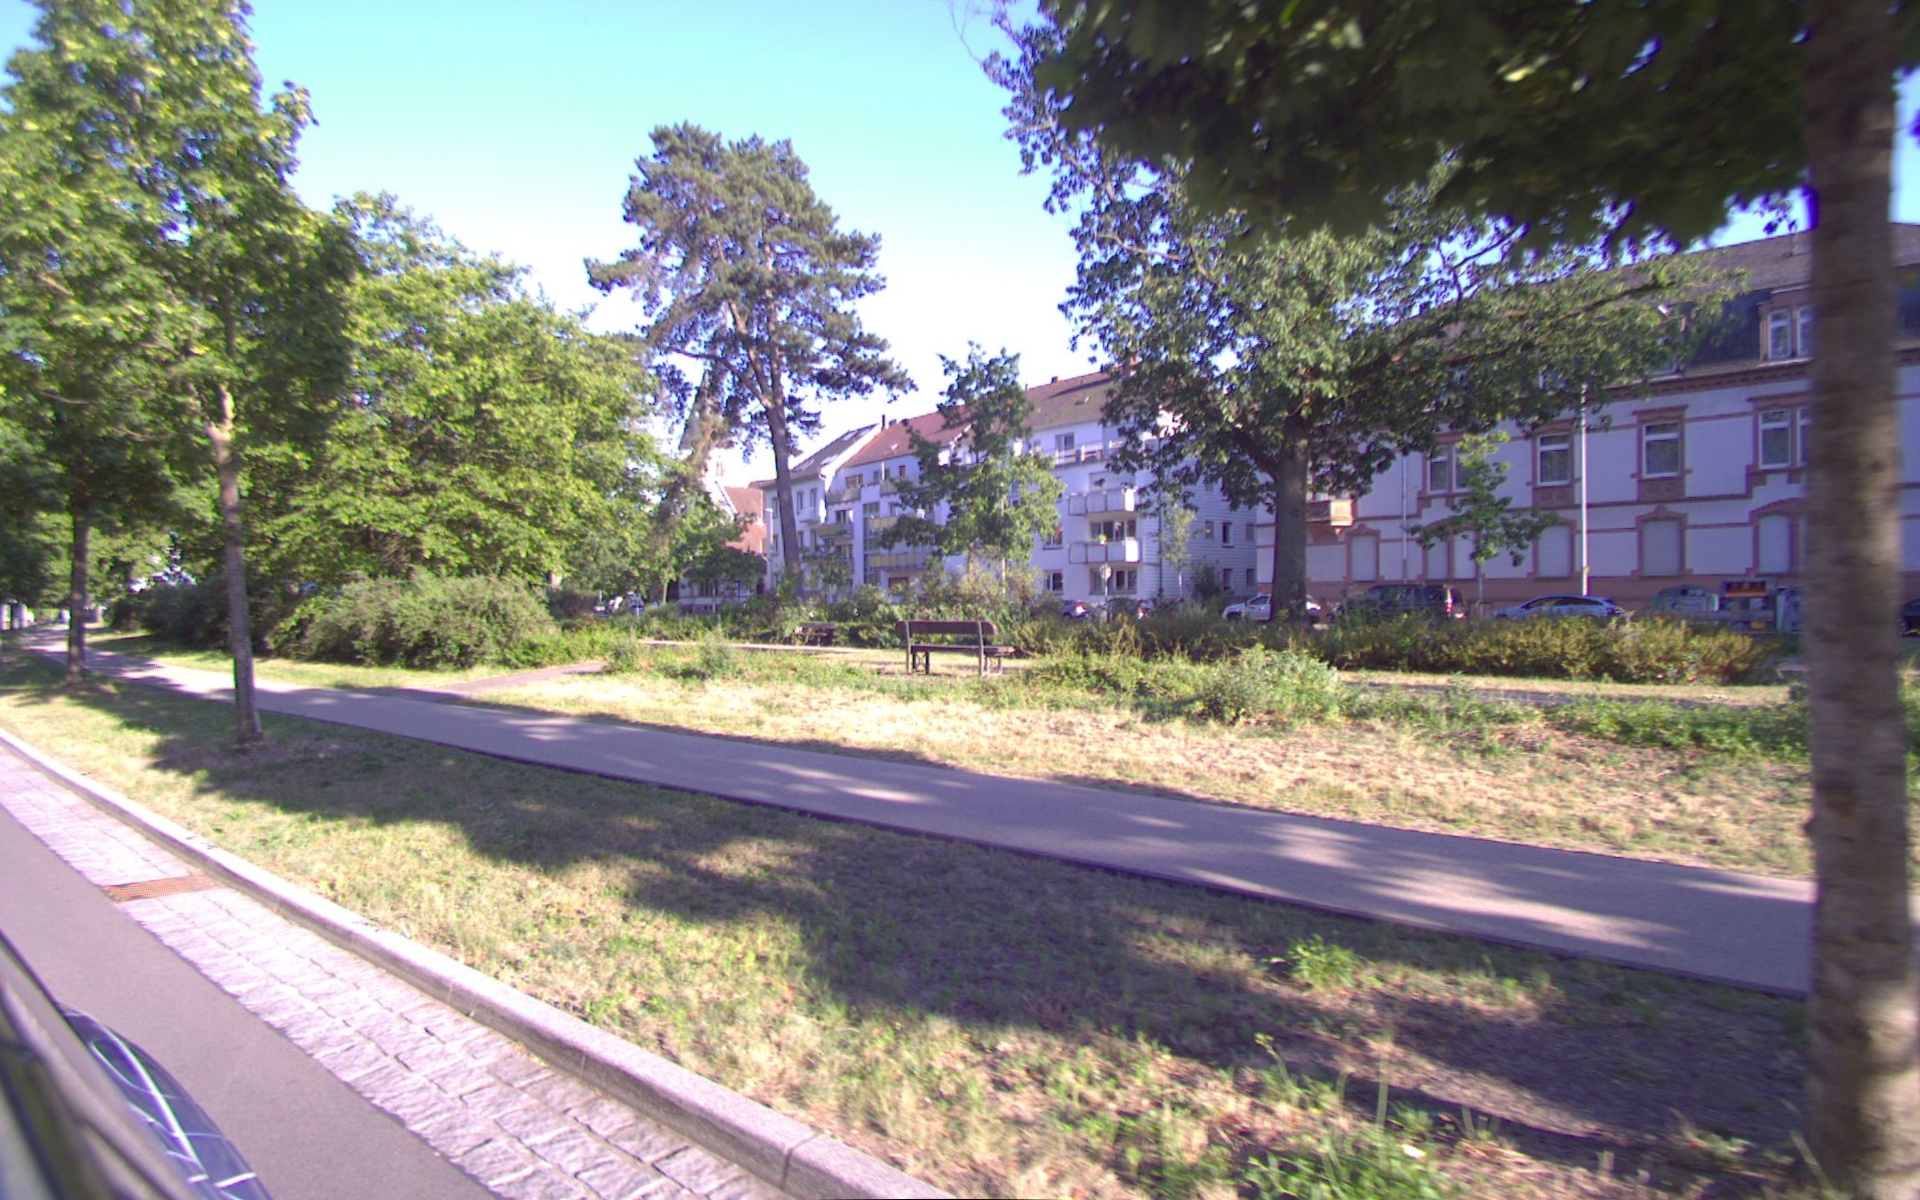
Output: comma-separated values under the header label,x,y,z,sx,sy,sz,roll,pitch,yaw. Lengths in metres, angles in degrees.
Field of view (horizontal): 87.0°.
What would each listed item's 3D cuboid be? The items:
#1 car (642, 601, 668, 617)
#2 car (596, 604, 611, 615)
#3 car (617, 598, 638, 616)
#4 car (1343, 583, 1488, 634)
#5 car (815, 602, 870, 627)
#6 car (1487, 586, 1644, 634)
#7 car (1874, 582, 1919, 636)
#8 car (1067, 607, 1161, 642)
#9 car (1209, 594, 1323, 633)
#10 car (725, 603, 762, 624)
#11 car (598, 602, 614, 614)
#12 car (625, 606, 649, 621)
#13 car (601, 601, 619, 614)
label,x,y,z,sx,sy,sz,roll,pitch,yaw
car,-32.646,0.897,108.255,1.858,1.586,4.614,0,1,-26
car,-55.030,1.487,156.309,1.858,1.586,4.615,0,1,-23
car,-40.683,0.868,123.769,1.858,2.142,4.614,0,1,-26
car,18.237,0.295,40.673,1.862,1.907,4.982,0,1,-43
car,-8.275,0.966,70.977,1.860,1.586,4.610,0,1,-36
car,21.974,0.331,36.851,4.600,1.586,1.864,1,1,44
car,29.612,0.285,29.758,4.001,1.586,1.864,1,1,44
car,7.850,1.200,51.799,1.862,1.586,4.604,0,1,-43
car,13.726,0.570,45.548,1.862,1.586,4.604,0,1,-43
car,-18.335,1.110,85.647,1.858,1.586,4.614,0,1,-28
car,-49.554,1.158,141.486,1.858,1.586,4.614,0,1,-22
car,-37.350,1.521,116.960,1.858,1.586,4.614,0,1,-26
car,-46.864,1.018,135.509,1.858,1.586,4.615,0,1,-23
